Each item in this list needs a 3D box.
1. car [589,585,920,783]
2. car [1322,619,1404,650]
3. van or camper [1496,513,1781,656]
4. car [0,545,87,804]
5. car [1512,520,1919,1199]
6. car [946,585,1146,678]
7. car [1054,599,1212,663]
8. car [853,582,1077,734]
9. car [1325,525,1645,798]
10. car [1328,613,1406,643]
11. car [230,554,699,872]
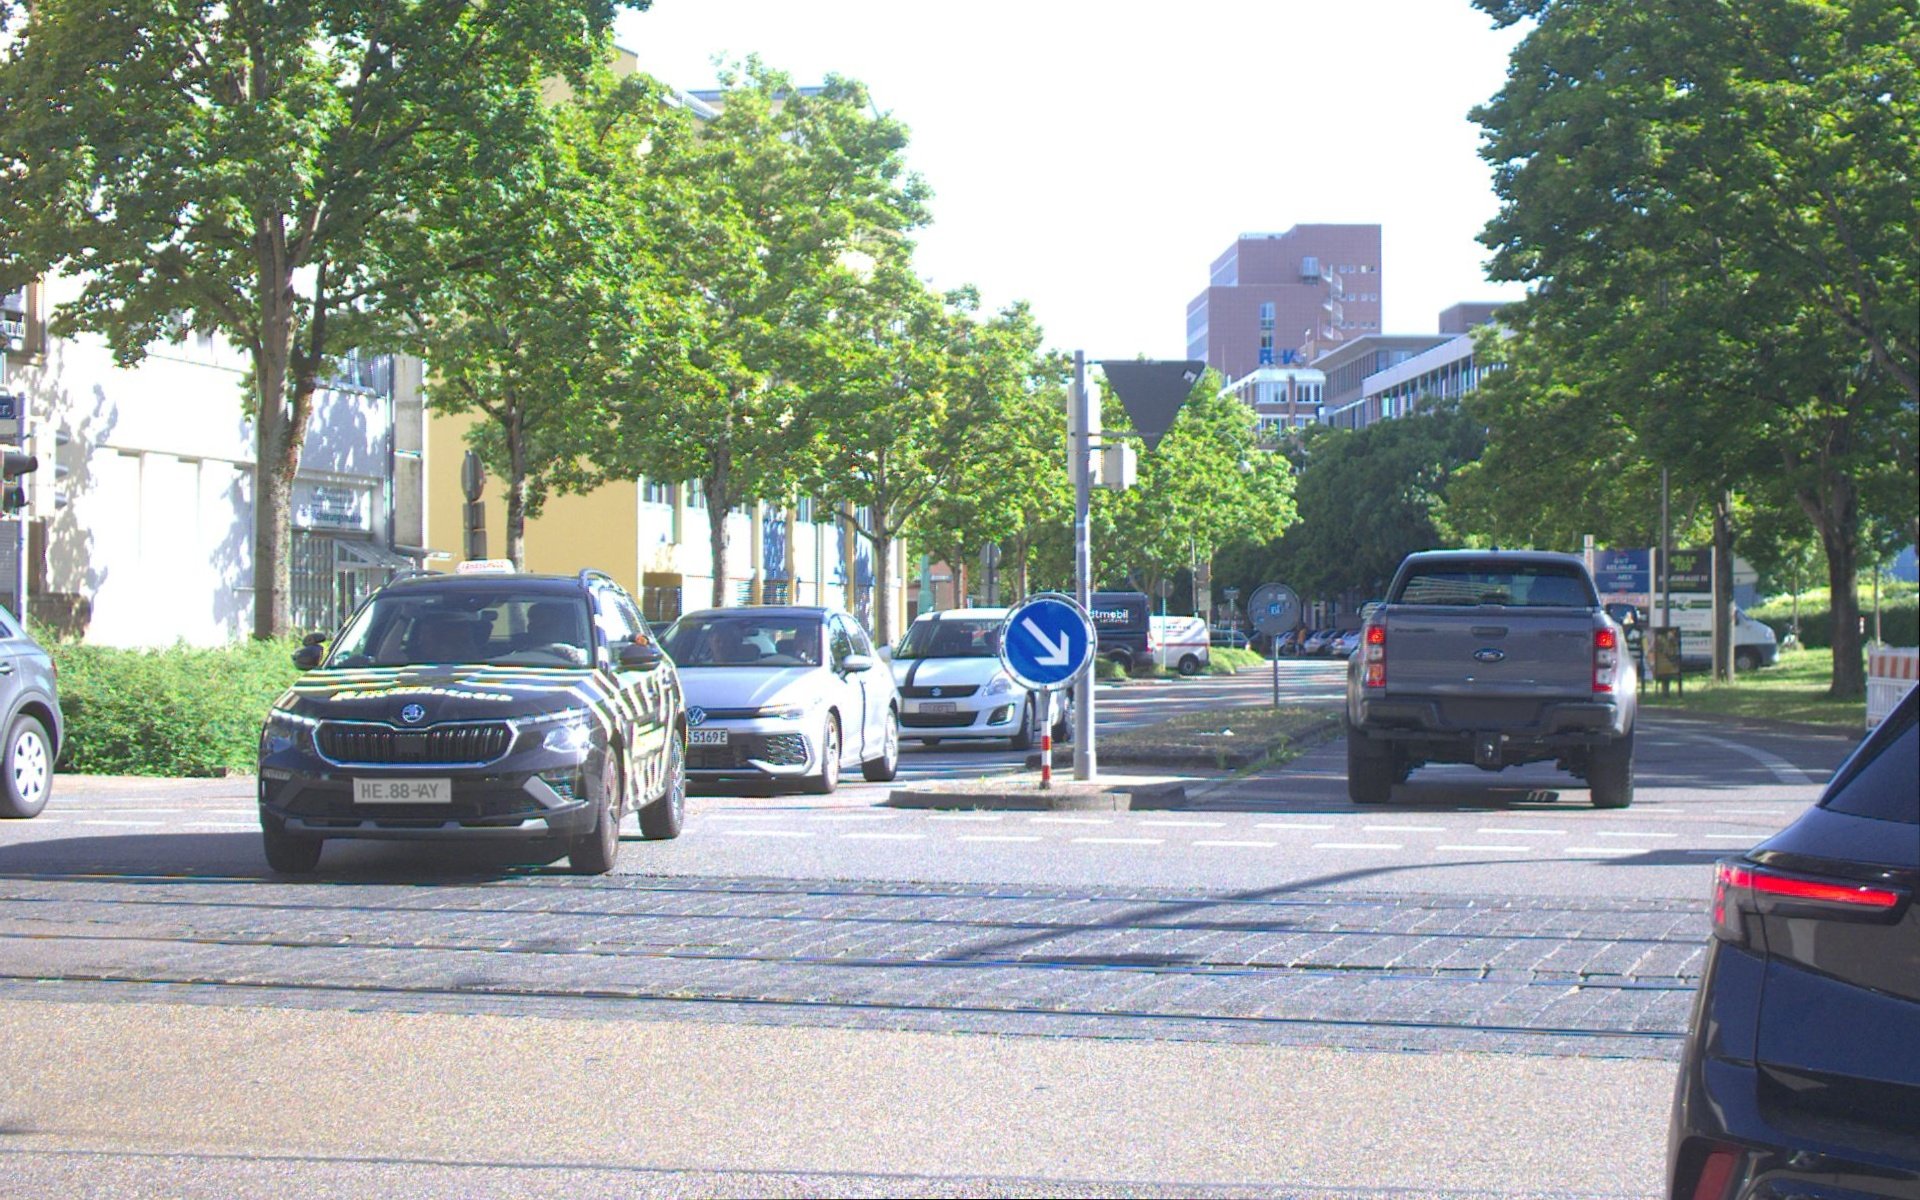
[{"bbox_3d":[-1.546,0.617,27.276,1.708,1.447,3.849,0,0,11],"label":"car"},{"bbox_3d":[20.524,1.774,175.321,3.947,1.392,1.516,-3,-1,1],"label":"car"},{"bbox_3d":[15.266,-0.323,77.708,6.081,2.919,2.574,-3,-1,9],"label":"van or camper"},{"bbox_3d":[-7.044,0.466,20.650,1.885,1.604,4.146,0,0,11],"label":"car"},{"bbox_3d":[2.788,0.664,5.665,3.745,1.512,1.786,1,0,-43],"label":"car"},{"bbox_3d":[2.425,0.880,97.101,5.259,2.537,1.986,0,-1,-16],"label":"car"},{"bbox_3d":[5.791,1.044,114.949,4.883,2.076,1.986,0,-1,-25],"label":"car"},{"bbox_3d":[0.111,0.592,37.010,1.705,1.507,3.861,-2,0,10],"label":"car"},{"bbox_3d":[3.958,0.414,25.691,2.134,1.829,4.938,0,0,10],"label":"car"},{"bbox_3d":[21.589,1.495,182.430,3.947,1.392,1.516,-3,-1,1],"label":"car"},{"bbox_3d":[-2.517,0.538,18.409,1.788,1.508,4.116,0,0,2],"label":"car"}]
